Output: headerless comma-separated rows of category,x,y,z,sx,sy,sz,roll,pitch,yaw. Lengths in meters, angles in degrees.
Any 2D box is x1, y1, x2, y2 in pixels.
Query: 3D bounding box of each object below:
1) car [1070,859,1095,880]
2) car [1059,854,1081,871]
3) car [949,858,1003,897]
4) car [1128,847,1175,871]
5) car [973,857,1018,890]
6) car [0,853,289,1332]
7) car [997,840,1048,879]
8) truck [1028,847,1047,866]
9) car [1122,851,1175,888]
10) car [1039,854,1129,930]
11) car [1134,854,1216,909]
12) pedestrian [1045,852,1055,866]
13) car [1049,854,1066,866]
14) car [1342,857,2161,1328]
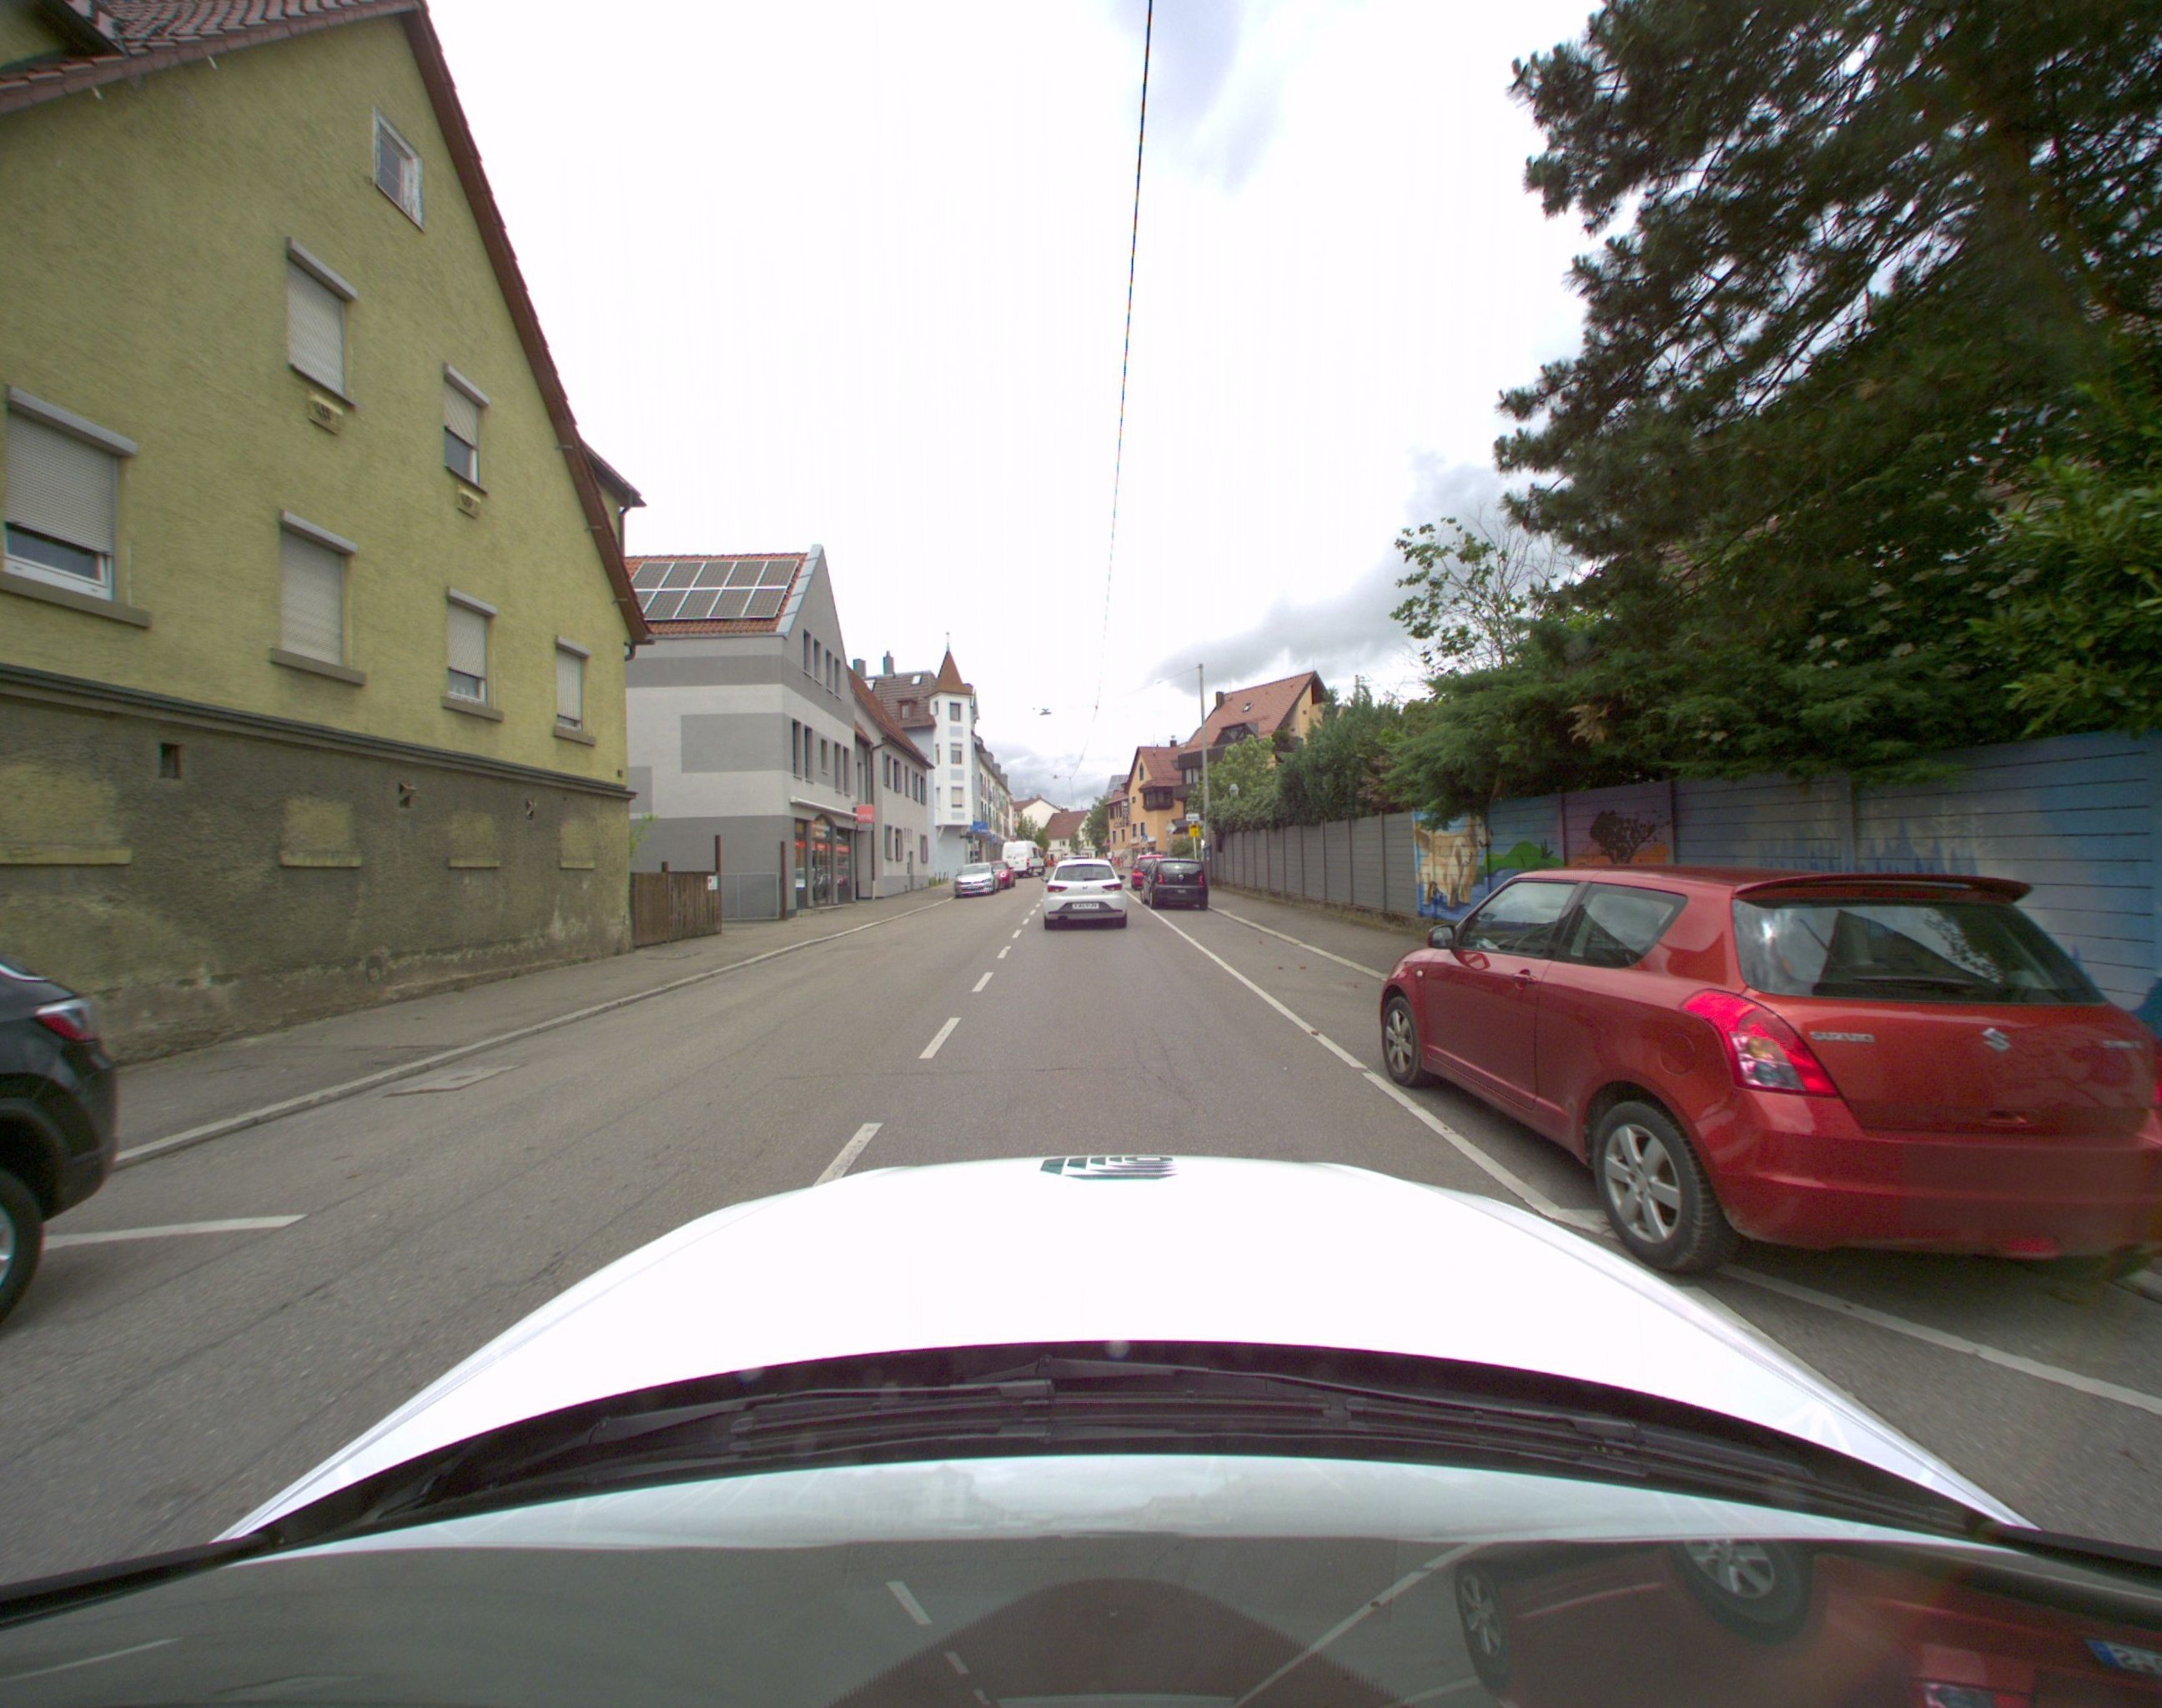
car,0.118,1.113,59.192,1.753,1.452,3.999,-2,0,0
car,-1.073,0.775,75.867,1.755,1.452,3.993,-2,0,-5
car,-4.662,1.011,36.587,1.794,1.479,4.049,-5,0,-1
car,4.733,0.315,54.664,2.810,1.512,1.702,-1,1,-12
car,-4.397,0.969,42.340,1.794,1.479,4.049,-5,0,-1
car,-4.678,0.906,1.500,1.891,1.619,4.524,-3,1,0
car,-4.200,0.367,59.581,2.138,2.687,5.564,-1,0,12
truck,-5.785,0.283,107.864,2.145,2.459,5.395,-1,0,0
car,2.890,0.657,35.518,1.754,1.452,3.995,-2,0,-3
car,0.076,0.763,18.306,1.753,1.452,4.000,-2,0,0
car,2.702,0.751,24.229,1.754,1.452,3.995,-2,0,-3
pedestrian,-4.511,0.692,118.558,1.224,2.013,1.175,-1,0,0
car,-3.520,0.899,124.158,1.783,1.701,4.012,-1,0,10
car,2.983,0.747,4.543,1.753,1.452,3.999,0,0,-1
